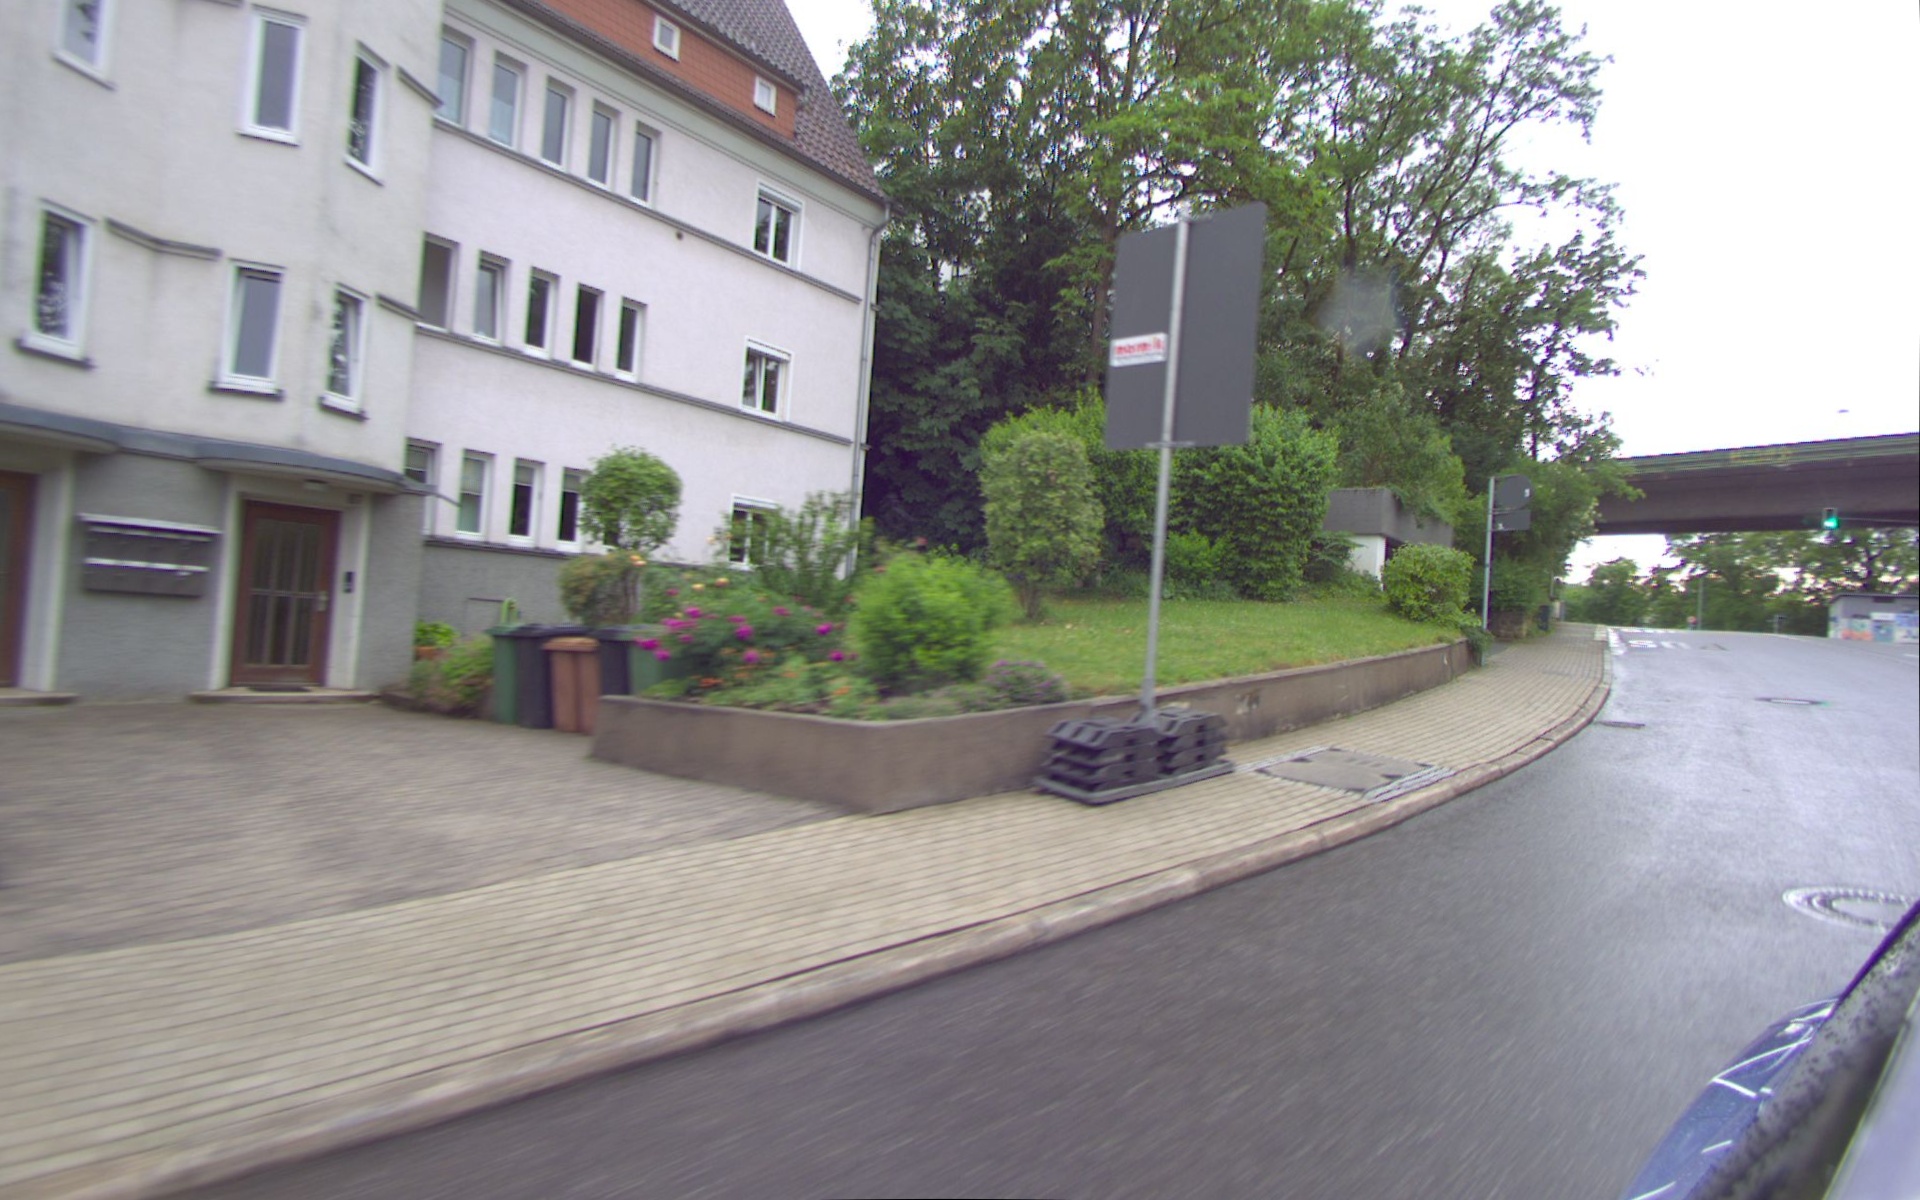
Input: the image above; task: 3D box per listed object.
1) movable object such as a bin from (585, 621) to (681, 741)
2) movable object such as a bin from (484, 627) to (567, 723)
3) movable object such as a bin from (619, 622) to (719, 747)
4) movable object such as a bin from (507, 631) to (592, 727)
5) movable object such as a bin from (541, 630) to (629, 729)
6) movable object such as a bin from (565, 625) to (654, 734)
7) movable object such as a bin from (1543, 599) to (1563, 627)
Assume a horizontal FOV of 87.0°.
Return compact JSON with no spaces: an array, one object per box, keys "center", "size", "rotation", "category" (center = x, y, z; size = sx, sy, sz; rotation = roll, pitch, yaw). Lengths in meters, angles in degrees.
[{"center":[-3.022,0.723,9.372],"size":[0.530,1.026,0.679],"rotation":[0,1,43],"category":"movable object such as a bin"},{"center":[-4.639,0.780,10.812],"size":[0.482,0.955,0.679],"rotation":[0,1,43],"category":"movable object such as a bin"},{"center":[-2.584,0.723,8.987],"size":[0.530,1.026,0.679],"rotation":[0,1,43],"category":"movable object such as a bin"},{"center":[-4.219,0.796,10.408],"size":[0.482,0.910,0.679],"rotation":[0,1,43],"category":"movable object such as a bin"},{"center":[-3.766,0.780,10.170],"size":[0.482,0.910,0.679],"rotation":[0,1,43],"category":"movable object such as a bin"},{"center":[-3.399,0.749,9.826],"size":[0.482,0.982,0.679],"rotation":[0,1,43],"category":"movable object such as a bin"},{"center":[17.524,0.375,29.899],"size":[0.503,0.798,0.497],"rotation":[0,1,31],"category":"movable object such as a bin"}]
